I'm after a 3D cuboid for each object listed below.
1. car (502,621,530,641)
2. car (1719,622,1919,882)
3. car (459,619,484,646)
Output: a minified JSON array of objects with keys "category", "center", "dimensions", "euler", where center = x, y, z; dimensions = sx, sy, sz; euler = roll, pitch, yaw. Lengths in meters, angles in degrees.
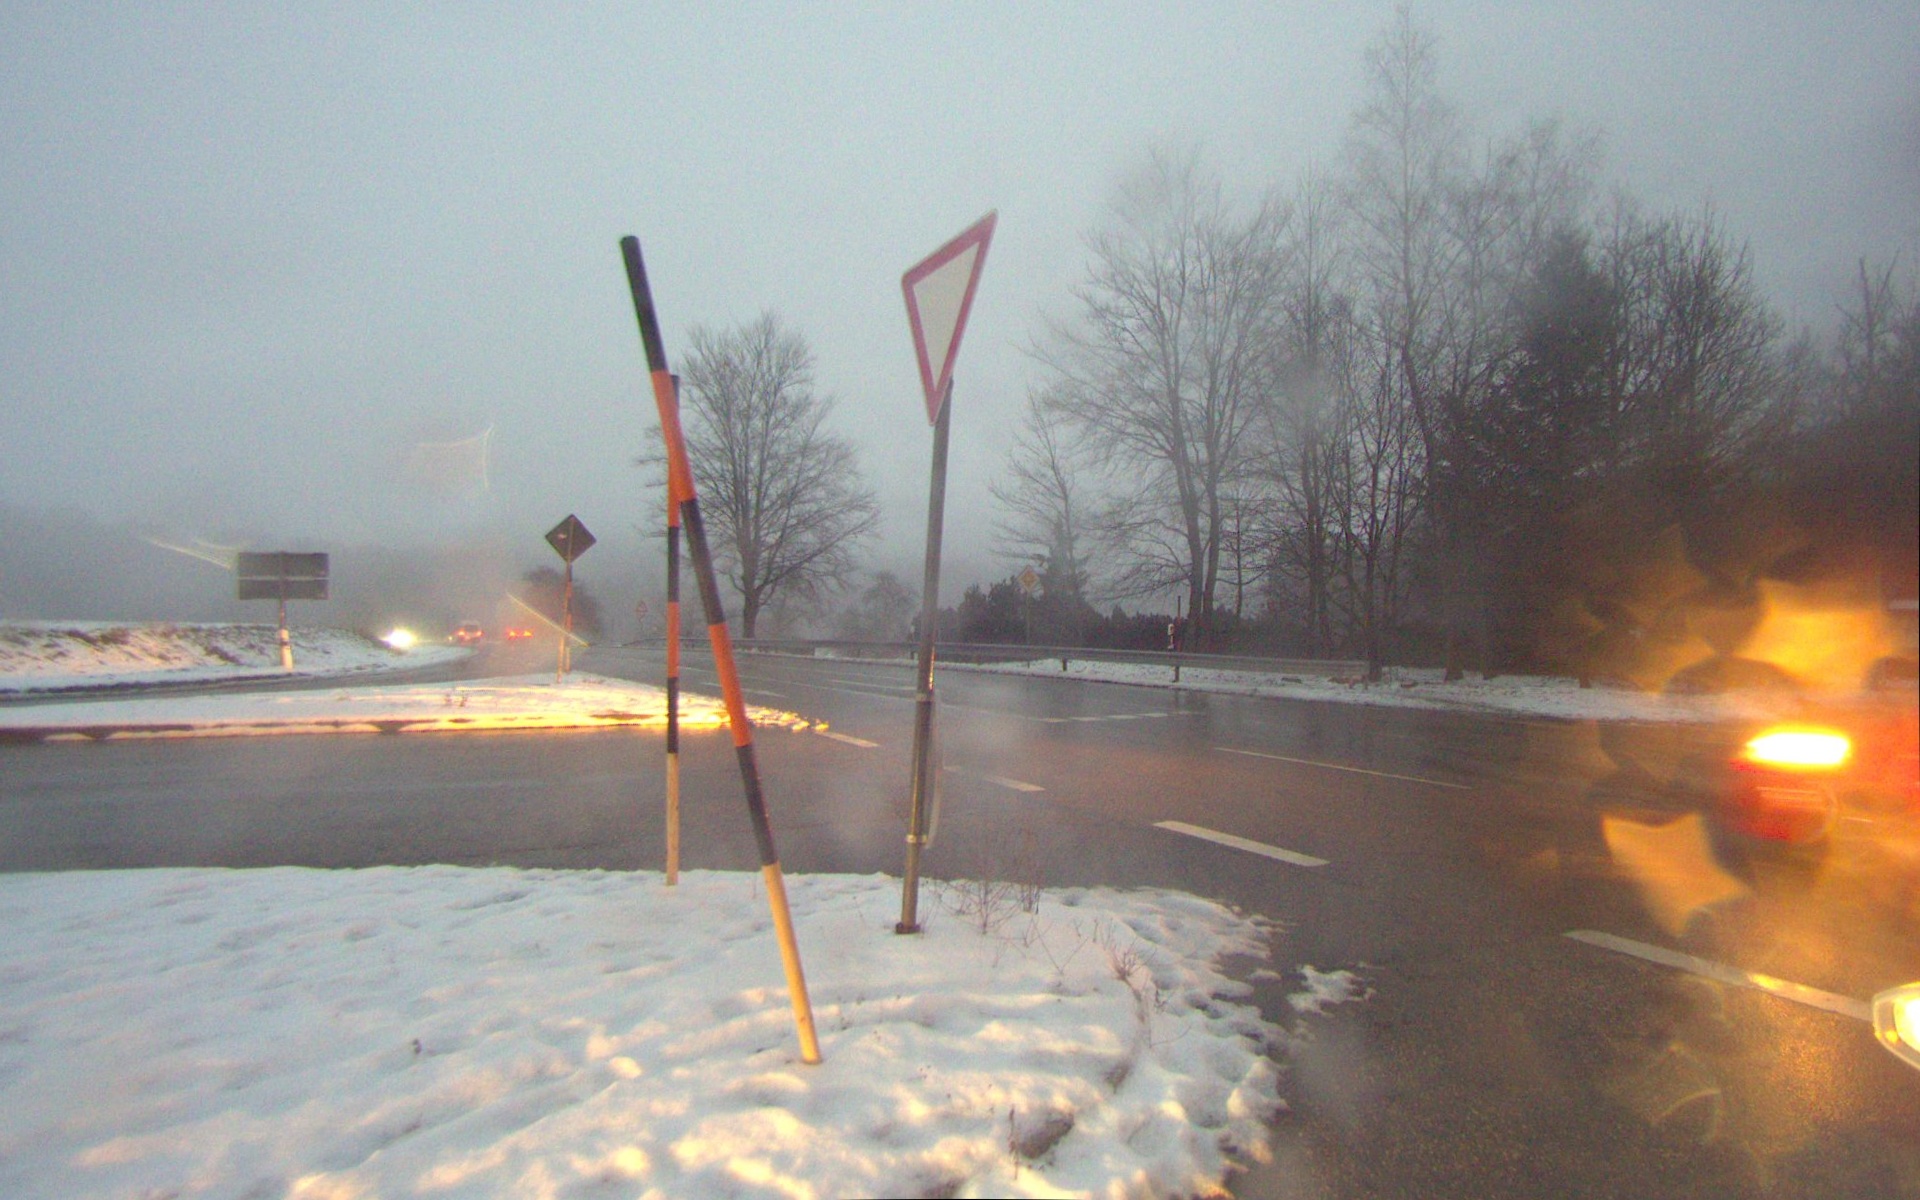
[{"category":"car","center":[-37.575,2.586,84.970],"dimensions":[1.679,1.572,3.823],"euler":[3,-2,-31]},{"category":"car","center":[6.683,0.922,5.961],"dimensions":[3.356,1.472,1.572],"euler":[1,0,34]},{"category":"car","center":[-57.735,3.825,118.586],"dimensions":[2.128,2.731,5.483],"euler":[3,0,-30]}]
